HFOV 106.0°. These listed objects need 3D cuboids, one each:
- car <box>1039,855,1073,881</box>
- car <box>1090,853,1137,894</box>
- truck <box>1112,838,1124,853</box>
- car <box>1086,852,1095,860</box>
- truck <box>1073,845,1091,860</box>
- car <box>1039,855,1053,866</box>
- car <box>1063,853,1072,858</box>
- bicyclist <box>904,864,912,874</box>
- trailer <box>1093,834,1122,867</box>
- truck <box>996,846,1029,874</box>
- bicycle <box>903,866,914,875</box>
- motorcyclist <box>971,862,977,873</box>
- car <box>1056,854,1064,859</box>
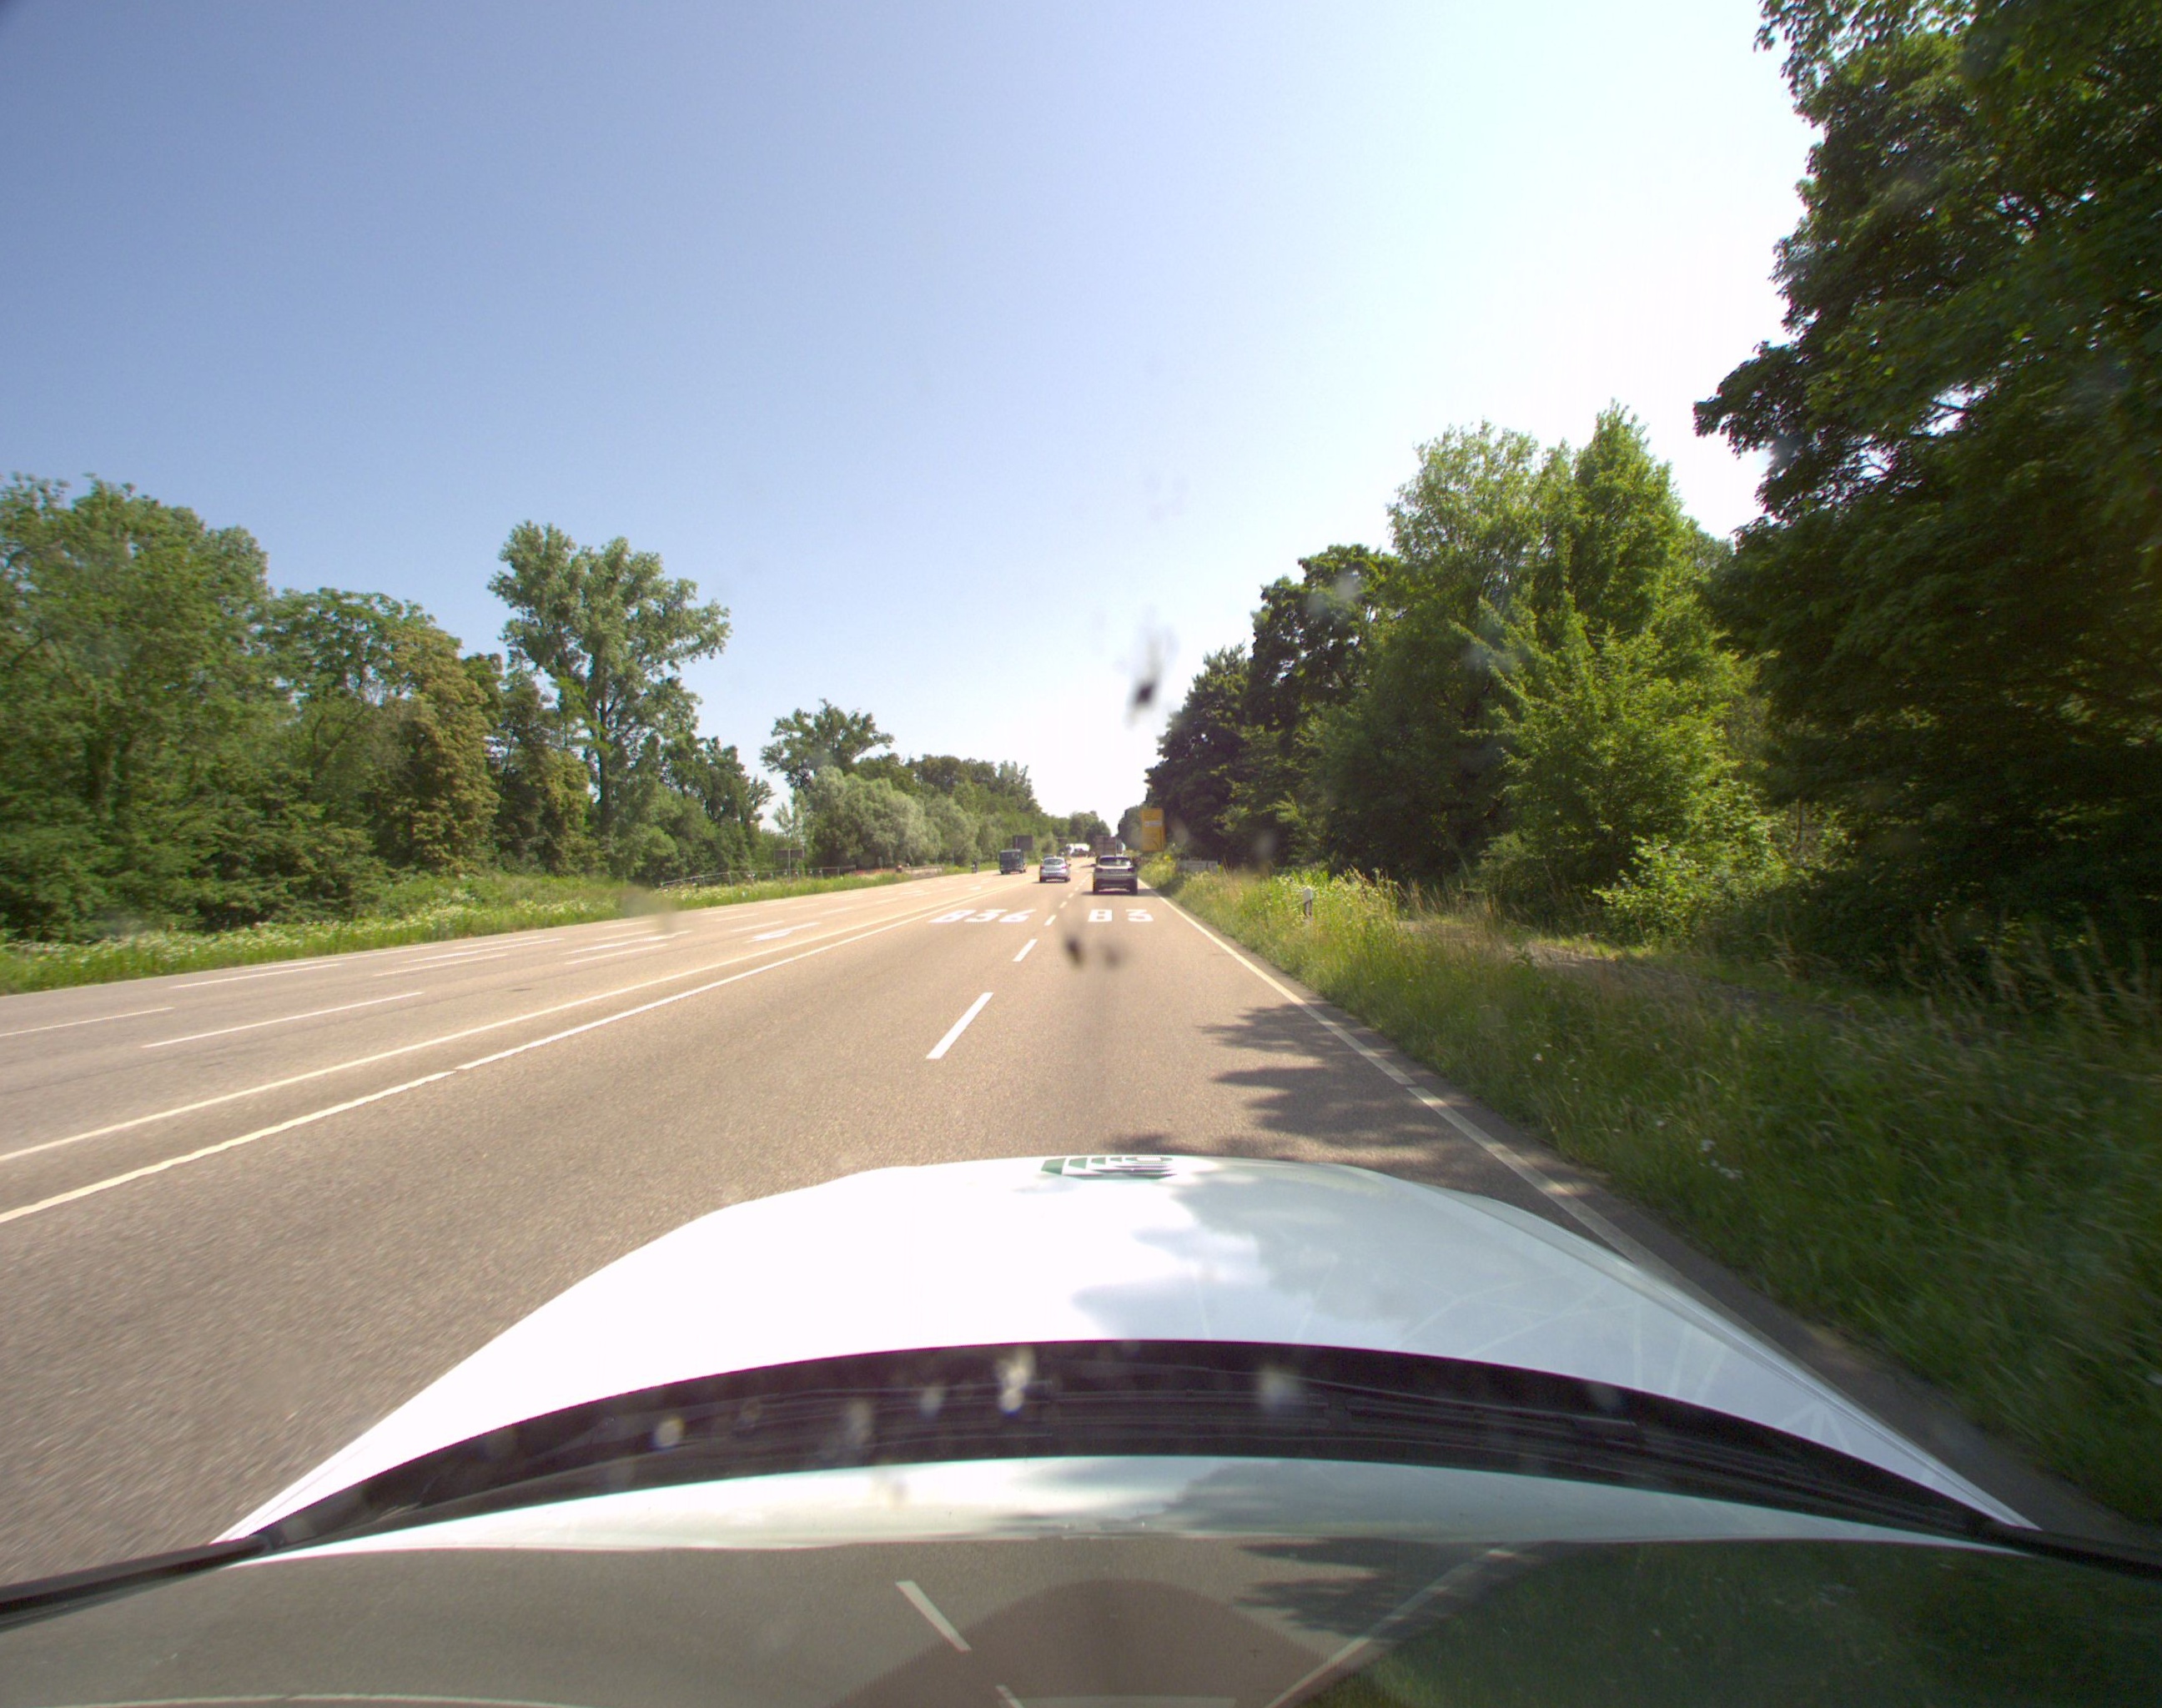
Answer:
[{"bbox_3d":[-1.405,0.792,47.673,1.659,1.430,3.831,0,0,3],"label":"car"},{"bbox_3d":[1.363,0.752,33.190,1.760,1.535,4.003,-1,0,3],"label":"car"},{"bbox_3d":[10.995,-2.348,241.239,3.484,4.188,10.788,-1,-1,2],"label":"truck"},{"bbox_3d":[2.600,0.501,215.173,1.989,2.013,4.549,-3,0,-3],"label":"car"},{"bbox_3d":[0.218,-0.424,234.771,3.643,4.105,9.483,-3,0,-8],"label":"truck"},{"bbox_3d":[-6.143,1.127,143.889,1.986,1.882,4.962,-3,0,2],"label":"car"},{"bbox_3d":[-4.267,0.564,251.966,1.995,1.585,3.984,0,-1,-11],"label":"car"},{"bbox_3d":[-20.395,1.740,96.068,0.730,1.195,0.594,-3,-1,13],"label":"bicyclist"},{"bbox_3d":[3.459,-0.371,103.733,3.368,3.989,10.812,-1,-1,3],"label":"trailer"},{"bbox_3d":[-7.147,0.610,85.971,2.444,2.656,6.496,-4,0,3],"label":"truck"},{"bbox_3d":[-20.363,1.974,96.052,0.600,1.006,1.561,-3,-1,14],"label":"bicycle"},{"bbox_3d":[-13.344,1.657,101.247,0.575,1.353,0.754,-3,-1,0],"label":"motorcyclist"},{"bbox_3d":[-6.636,0.670,260.872,1.995,1.585,3.984,0,-1,-11],"label":"car"}]
